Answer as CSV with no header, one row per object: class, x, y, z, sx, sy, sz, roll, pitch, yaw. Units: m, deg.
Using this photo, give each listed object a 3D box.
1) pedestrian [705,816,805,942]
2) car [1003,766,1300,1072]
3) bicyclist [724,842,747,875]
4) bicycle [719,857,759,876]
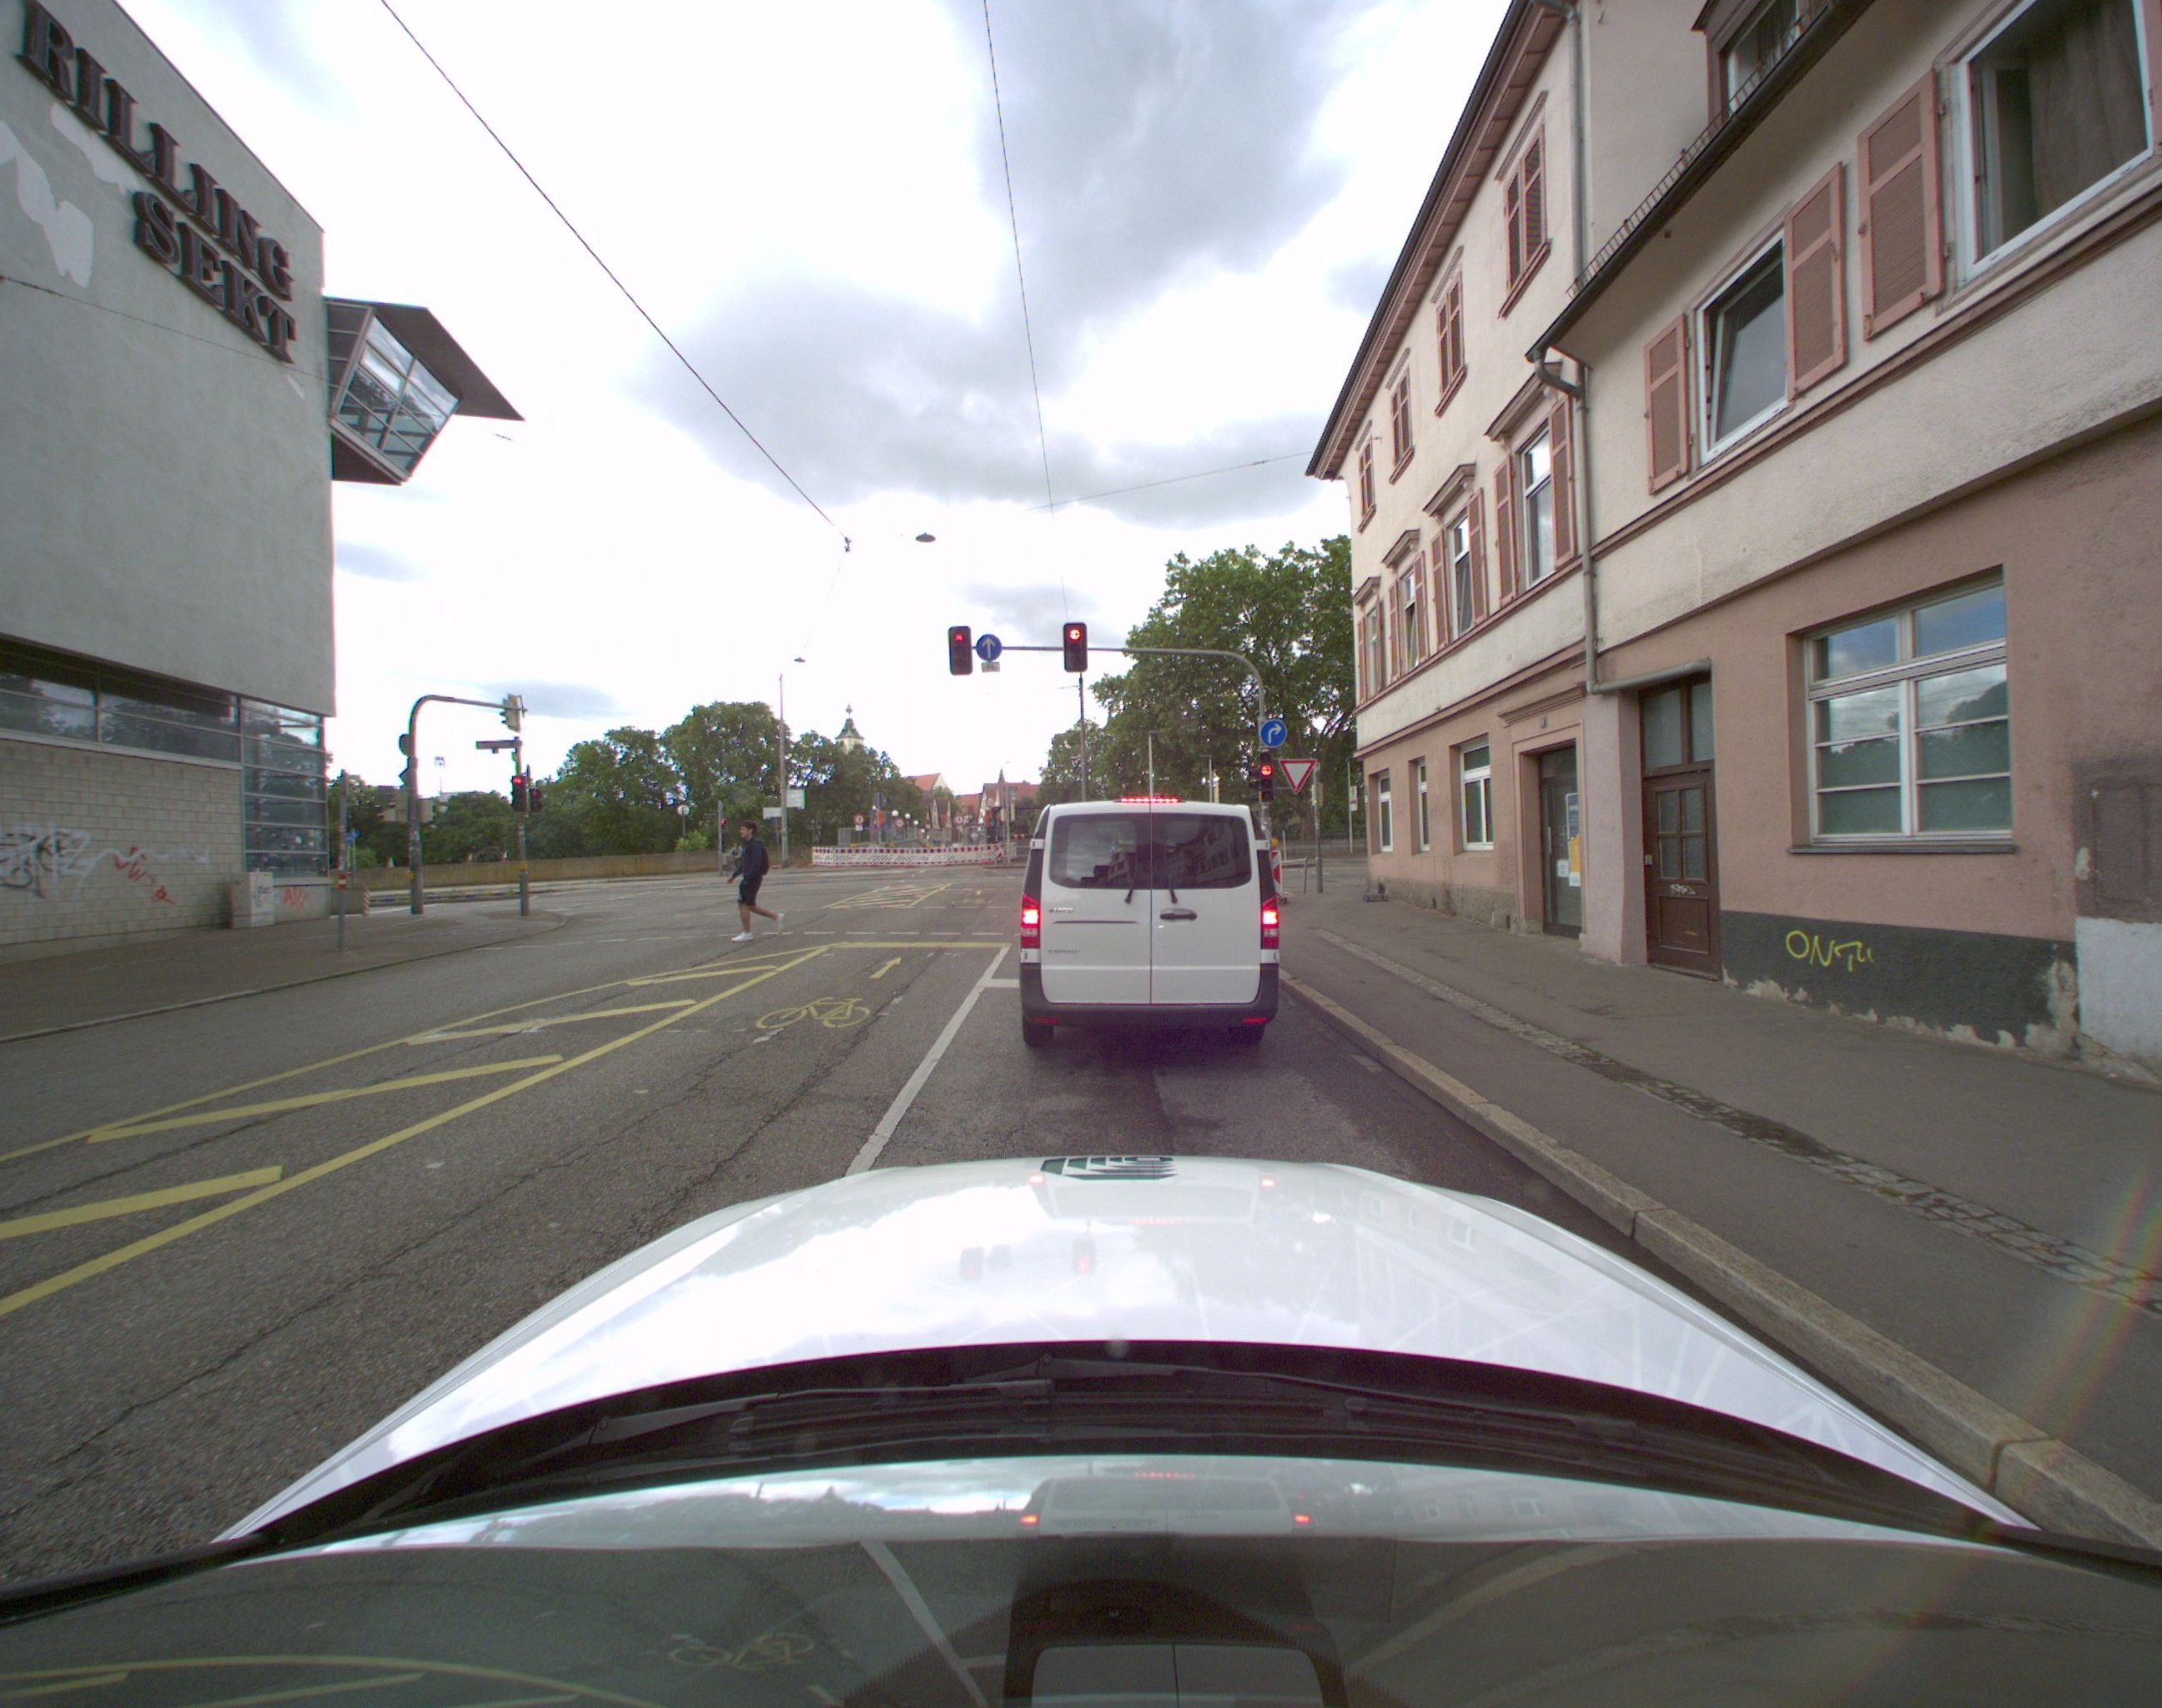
pedestrian,-5.080,0.362,12.760,1.084,1.886,1.058,0,1,1
car,0.543,0.378,7.725,1.943,2.013,4.700,0,1,2
bicyclist,-18.221,0.229,42.967,0.716,1.701,0.816,-2,0,40
bicycle,-18.106,0.651,43.113,0.536,0.892,1.892,-2,0,40
